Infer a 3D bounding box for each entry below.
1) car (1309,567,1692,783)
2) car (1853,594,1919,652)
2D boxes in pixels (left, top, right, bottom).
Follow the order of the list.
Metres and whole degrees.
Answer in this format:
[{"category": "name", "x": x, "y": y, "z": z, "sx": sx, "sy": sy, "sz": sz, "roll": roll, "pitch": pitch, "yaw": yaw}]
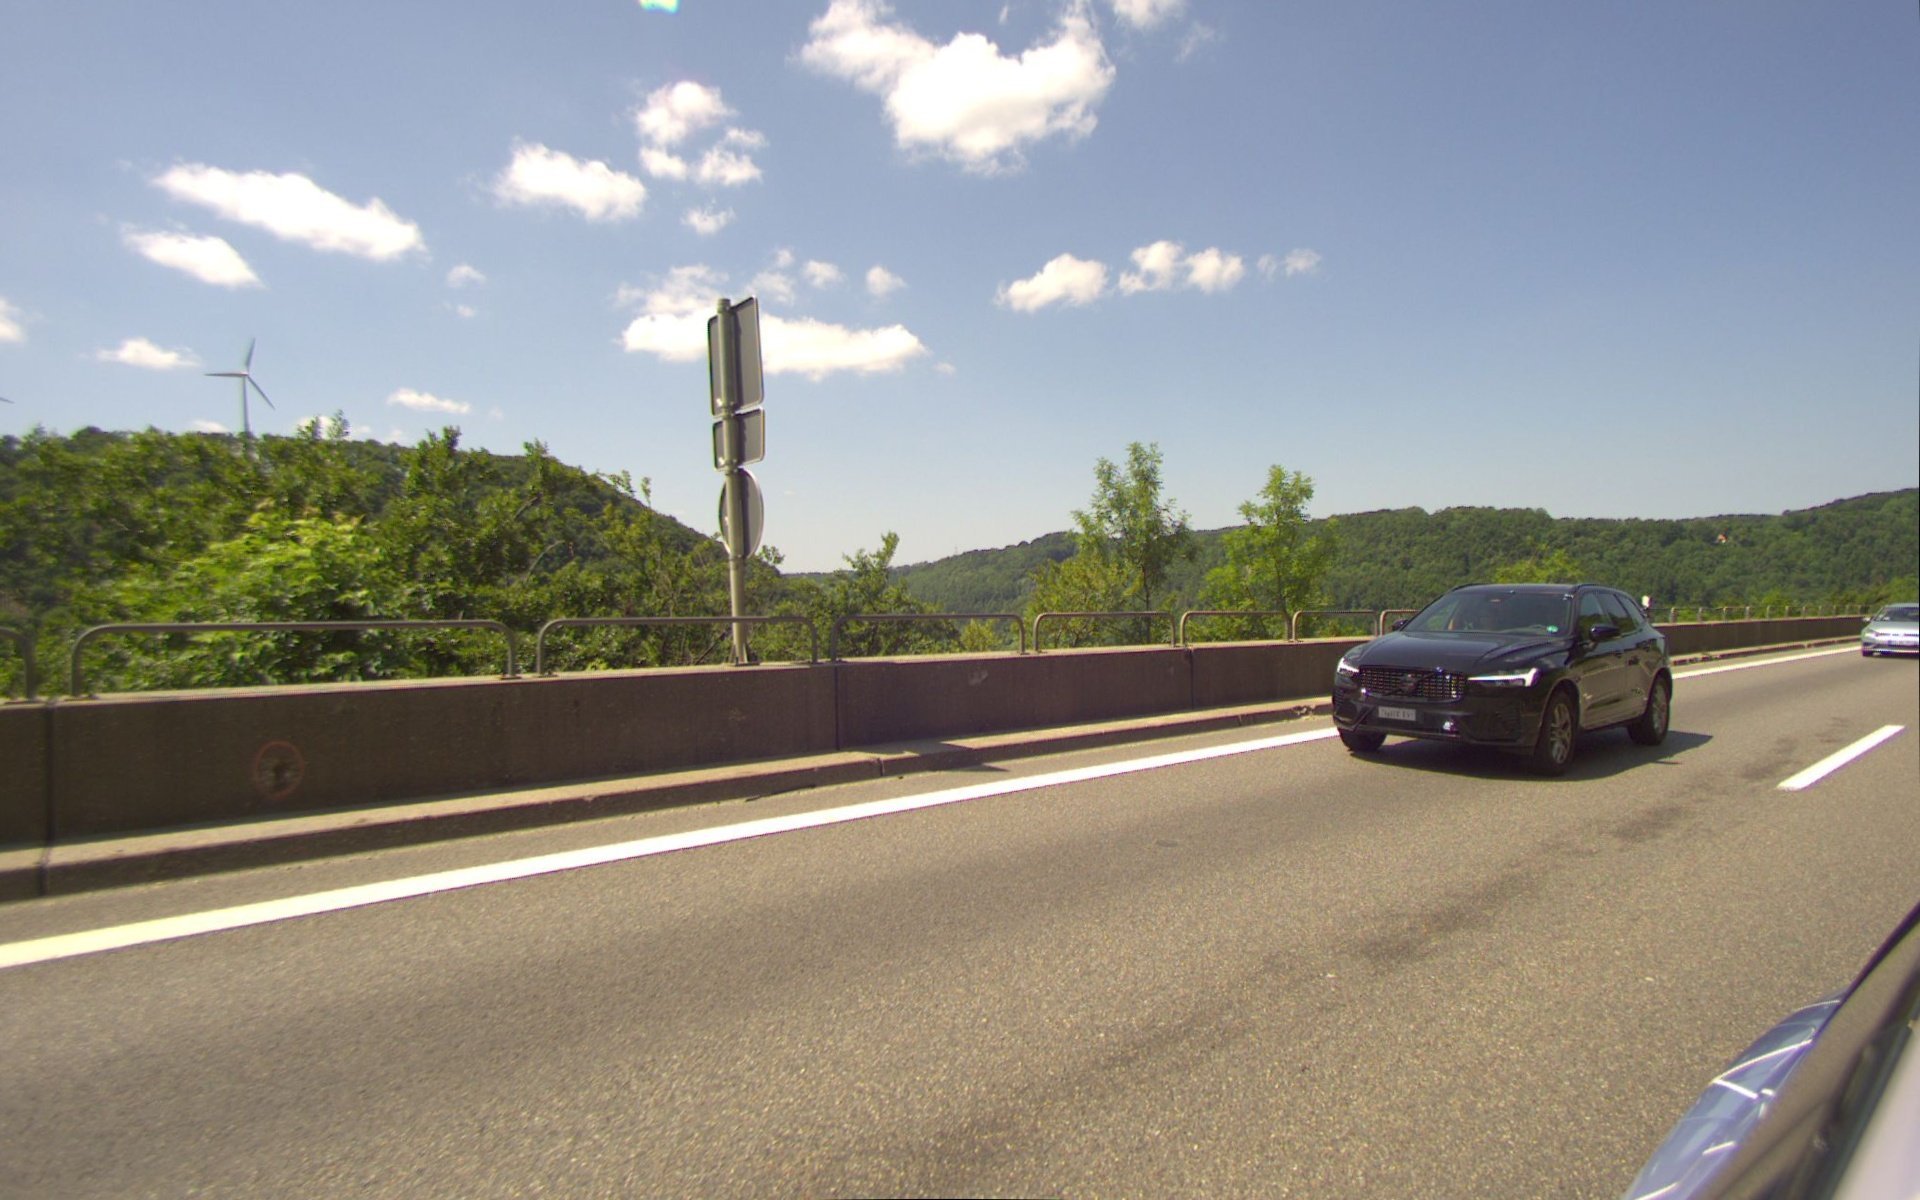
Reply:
[{"category": "car", "x": 5.474, "y": 0.551, "z": 9.963, "sx": 4.581, "sy": 1.654, "sz": 1.838, "roll": 0, "pitch": 1, "yaw": -41}, {"category": "car", "x": 25.700, "y": 0.573, "z": 27.056, "sx": 4.215, "sy": 1.395, "sz": 1.972, "roll": -1, "pitch": 0, "yaw": -38}]
